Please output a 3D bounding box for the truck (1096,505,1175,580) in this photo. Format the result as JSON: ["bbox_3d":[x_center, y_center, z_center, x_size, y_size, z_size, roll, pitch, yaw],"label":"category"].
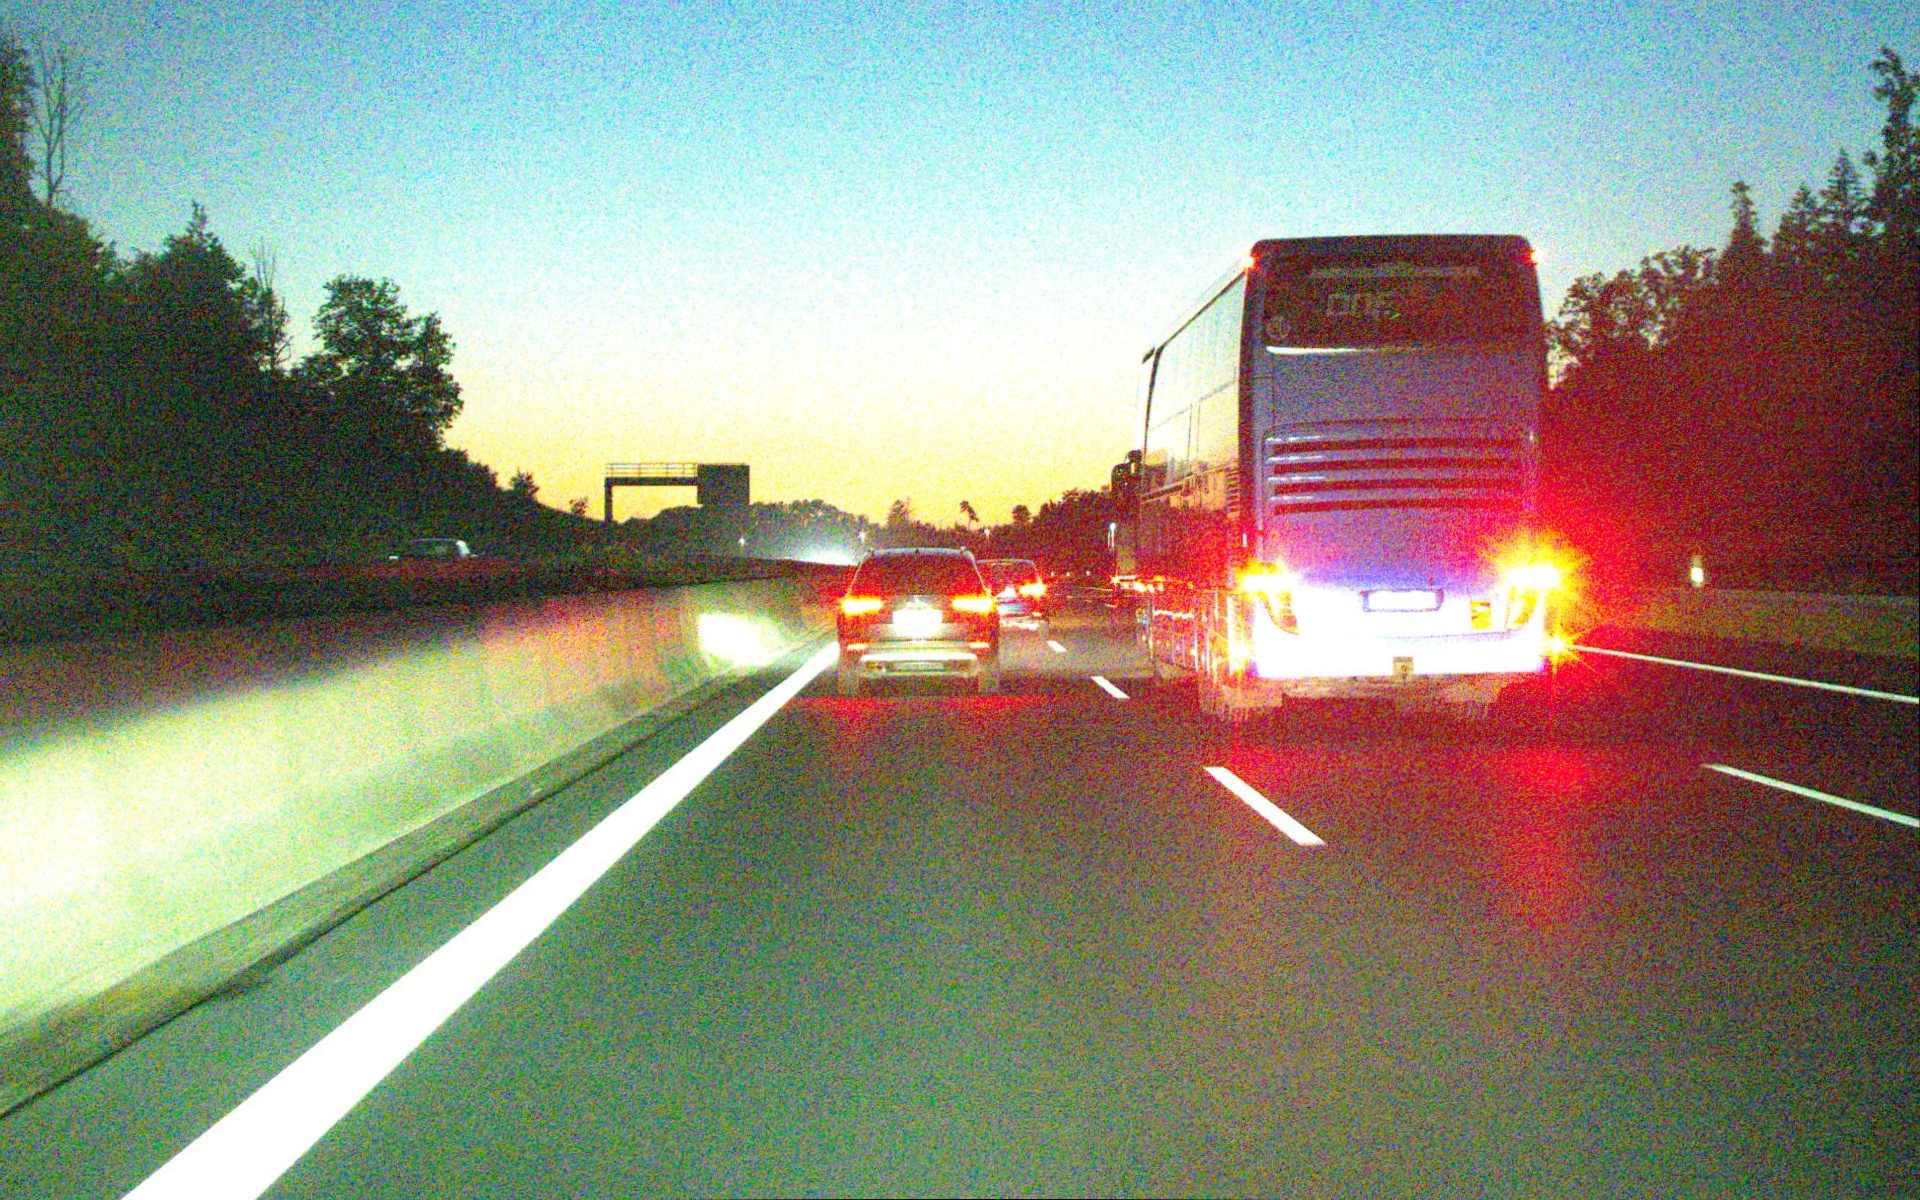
[{"bbox_3d":[6.864,-2.235,135.052,2.602,2.865,7.486,0,0,-1],"label":"truck"}]

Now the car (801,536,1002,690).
[{"bbox_3d":[-0.670,0.139,38.384,2.105,1.612,4.204,0,0,-1],"label":"car"}]

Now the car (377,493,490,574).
[{"bbox_3d":[-12.335,-1.573,80.805,1.992,1.770,4.749,2,1,-2],"label":"car"}]

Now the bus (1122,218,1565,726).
[{"bbox_3d":[3.355,-1.022,34.305,2.652,3.980,14.702,0,0,0],"label":"bus"}]

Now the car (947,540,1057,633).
[{"bbox_3d":[0.765,-0.254,65.847,1.911,1.724,4.000,0,0,-2],"label":"car"}]

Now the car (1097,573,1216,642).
[{"bbox_3d":[3.709,0.141,65.482,1.911,1.270,4.000,0,0,-2],"label":"car"}]
